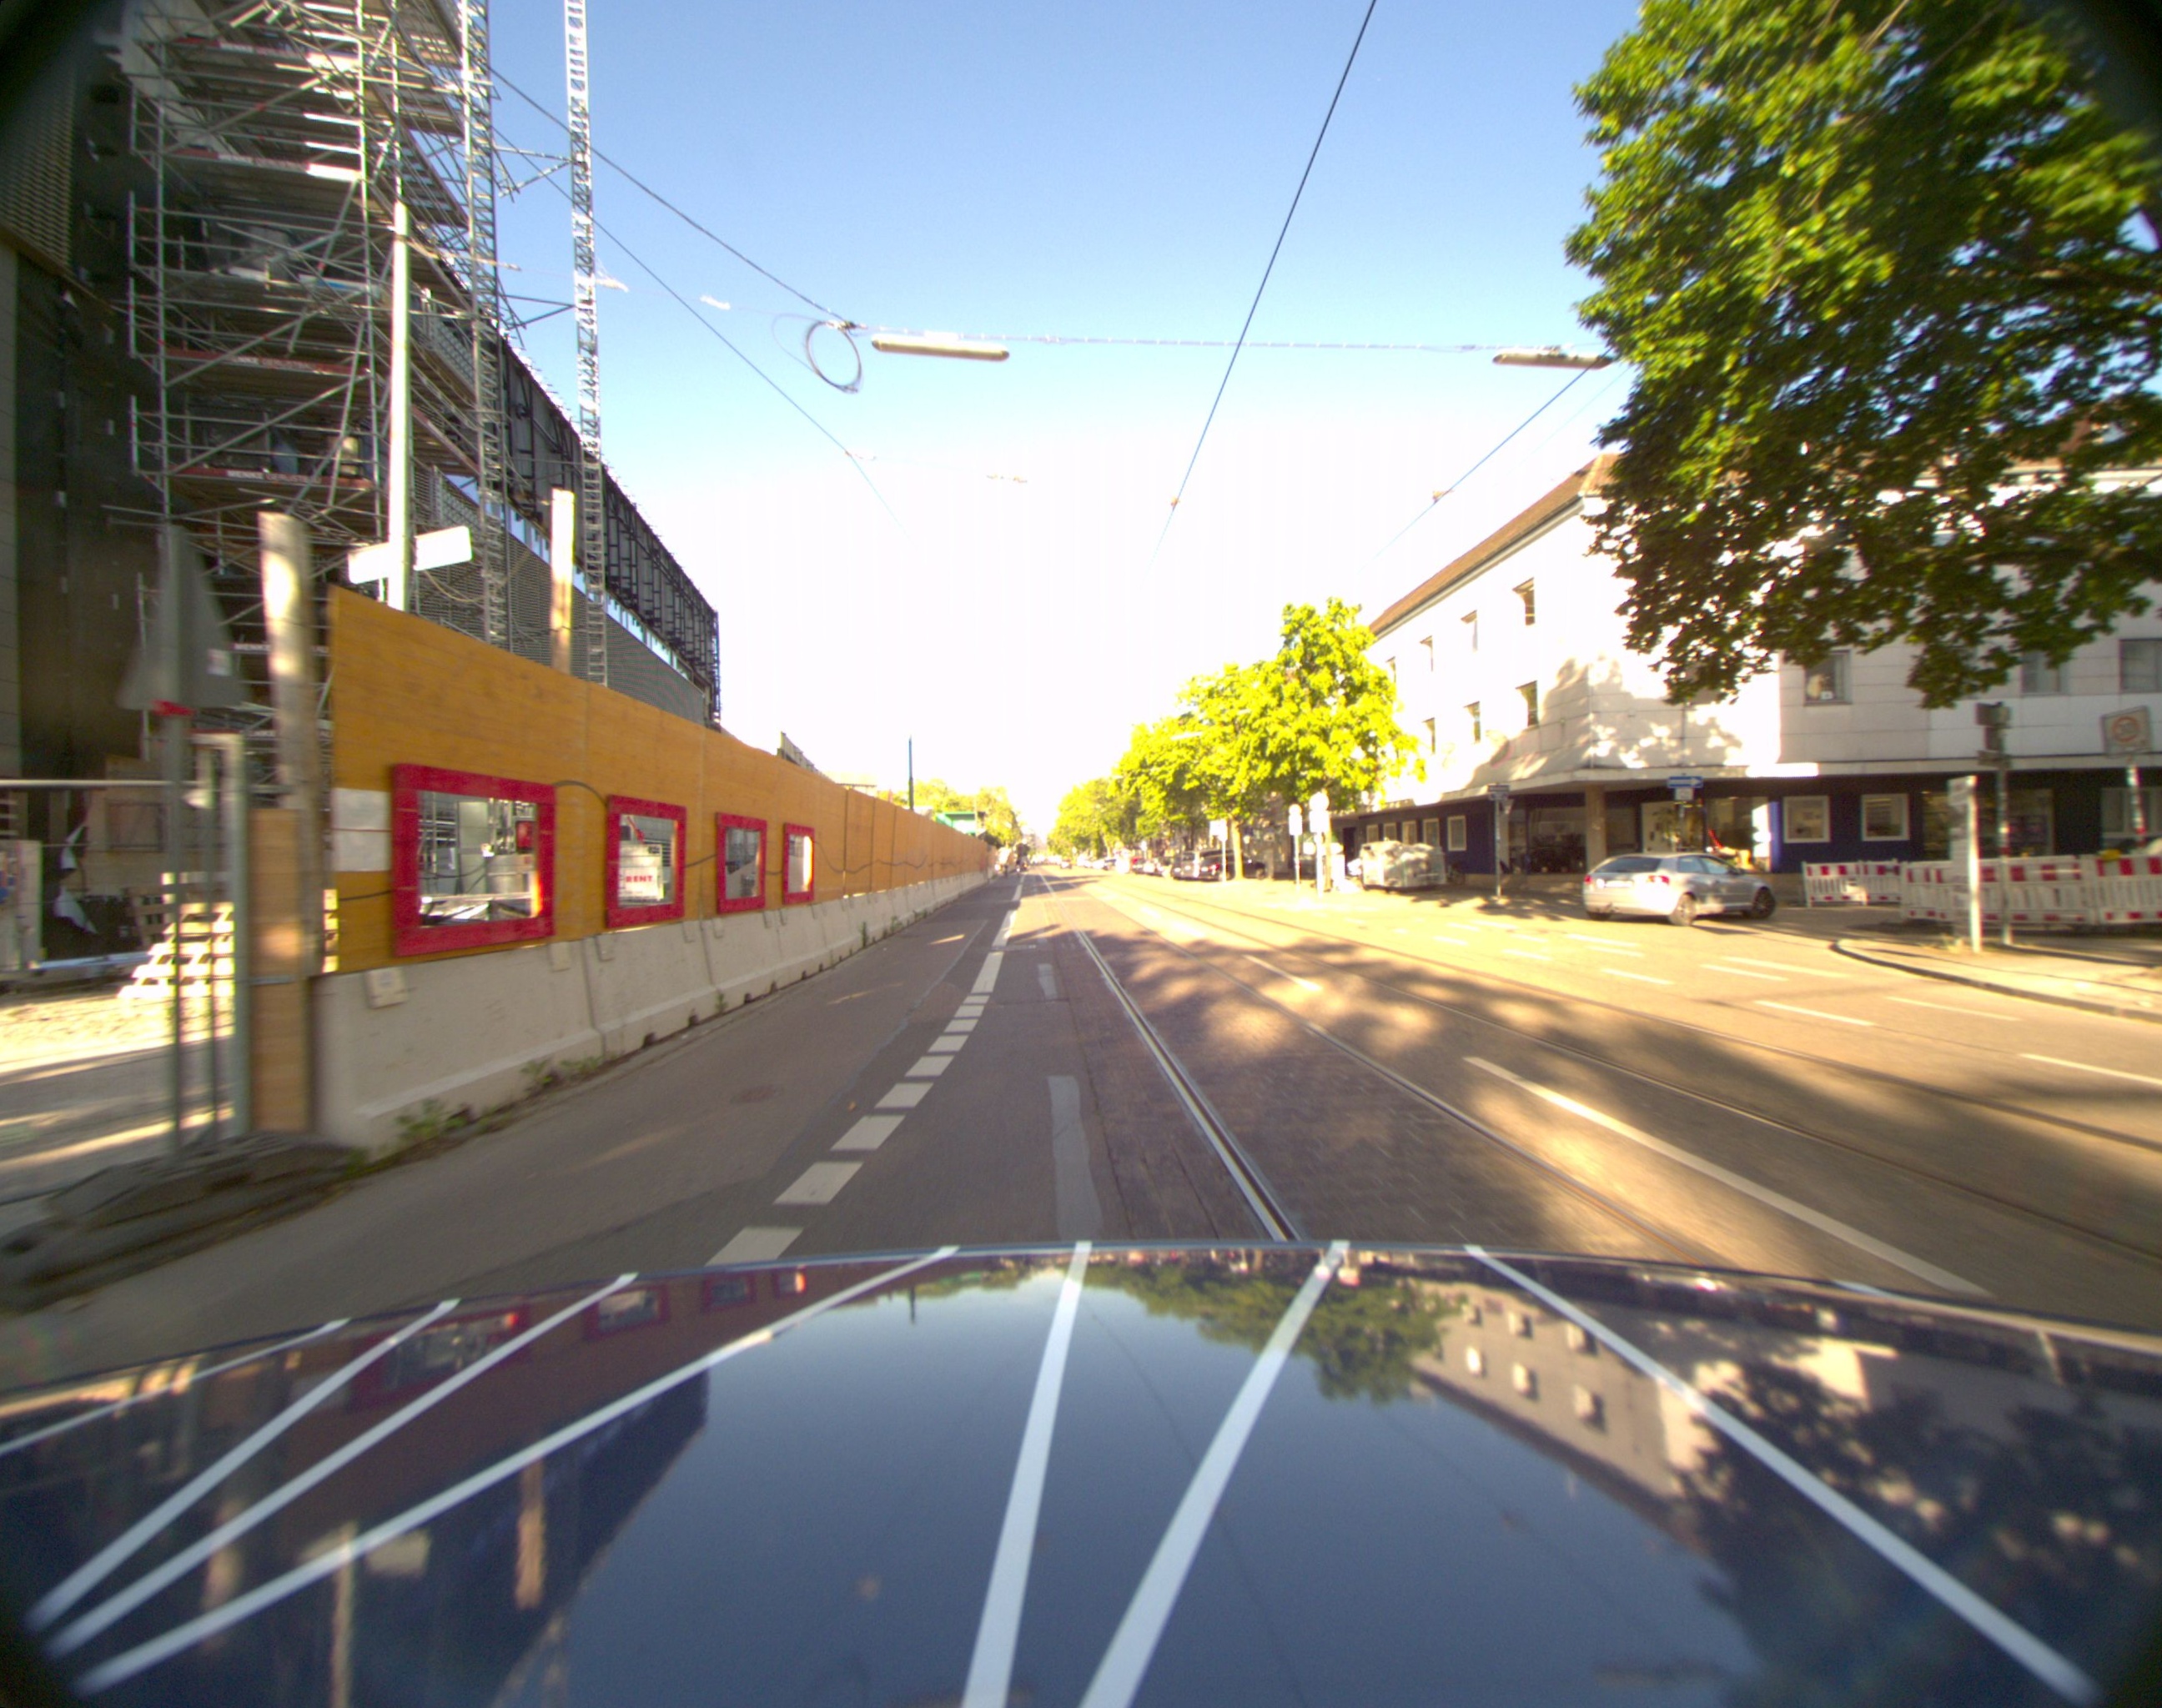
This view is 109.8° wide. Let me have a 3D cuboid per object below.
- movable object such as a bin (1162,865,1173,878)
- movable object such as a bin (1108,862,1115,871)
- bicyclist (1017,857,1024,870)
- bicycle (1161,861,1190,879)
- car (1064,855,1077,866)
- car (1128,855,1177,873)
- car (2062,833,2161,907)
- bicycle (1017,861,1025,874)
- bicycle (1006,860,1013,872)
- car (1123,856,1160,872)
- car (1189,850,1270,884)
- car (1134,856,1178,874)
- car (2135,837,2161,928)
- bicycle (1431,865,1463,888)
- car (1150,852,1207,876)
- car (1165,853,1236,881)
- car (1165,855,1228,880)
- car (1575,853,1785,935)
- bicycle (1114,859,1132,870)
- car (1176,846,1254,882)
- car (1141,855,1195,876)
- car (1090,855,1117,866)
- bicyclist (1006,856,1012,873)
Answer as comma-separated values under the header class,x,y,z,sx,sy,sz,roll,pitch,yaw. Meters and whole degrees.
class,x,y,z,sx,sy,sz,roll,pitch,yaw
movable object such as a bin,6.168,1.229,54.290,0.578,0.908,0.574,-3,0,-19
movable object such as a bin,3.761,1.535,94.469,0.685,1.071,0.710,-4,0,-2
bicyclist,-5.605,0.851,70.567,0.653,1.230,0.353,0,0,-6
bicycle,6.747,1.152,54.253,1.973,1.138,0.492,-3,1,-21
car,-1.729,1.037,124.762,1.933,1.620,4.247,-1,0,-4
car,6.824,0.970,72.368,4.209,1.482,1.939,-3,0,-30
car,25.770,0.300,17.435,3.995,1.575,1.717,-3,0,5
bicycle,-5.549,1.236,70.430,0.669,1.148,2.275,-1,0,-3
bicycle,-6.638,1.096,70.446,0.559,1.120,2.275,0,0,-6
car,6.506,1.092,81.941,3.630,1.544,1.665,-3,-1,-29
car,8.675,0.742,44.320,4.301,1.657,1.908,-4,1,-27
car,6.891,1.017,69.778,3.689,1.462,1.749,-3,1,-32
car,18.746,0.423,11.582,3.247,1.434,1.475,-1,0,1
bicycle,13.918,0.857,28.924,0.385,0.834,1.484,-1,0,-3
car,7.740,0.792,60.593,4.116,1.668,1.840,-4,0,-6
car,7.790,0.843,49.559,4.254,1.675,1.807,-1,0,-24
car,8.012,0.924,52.531,3.873,1.468,1.840,-3,1,-25
car,12.199,0.739,15.444,4.176,1.427,1.711,-1,0,-26
bicycle,4.993,1.243,91.008,2.008,1.081,0.567,-5,0,-1
car,8.313,0.611,47.051,4.373,1.975,1.945,-3,1,-25
car,7.326,0.964,63.971,4.123,1.503,1.837,-3,0,-30
car,3.467,1.000,115.476,3.652,1.520,1.883,-1,0,-23
bicyclist,-6.649,0.967,70.436,0.558,1.603,0.576,0,0,-5
